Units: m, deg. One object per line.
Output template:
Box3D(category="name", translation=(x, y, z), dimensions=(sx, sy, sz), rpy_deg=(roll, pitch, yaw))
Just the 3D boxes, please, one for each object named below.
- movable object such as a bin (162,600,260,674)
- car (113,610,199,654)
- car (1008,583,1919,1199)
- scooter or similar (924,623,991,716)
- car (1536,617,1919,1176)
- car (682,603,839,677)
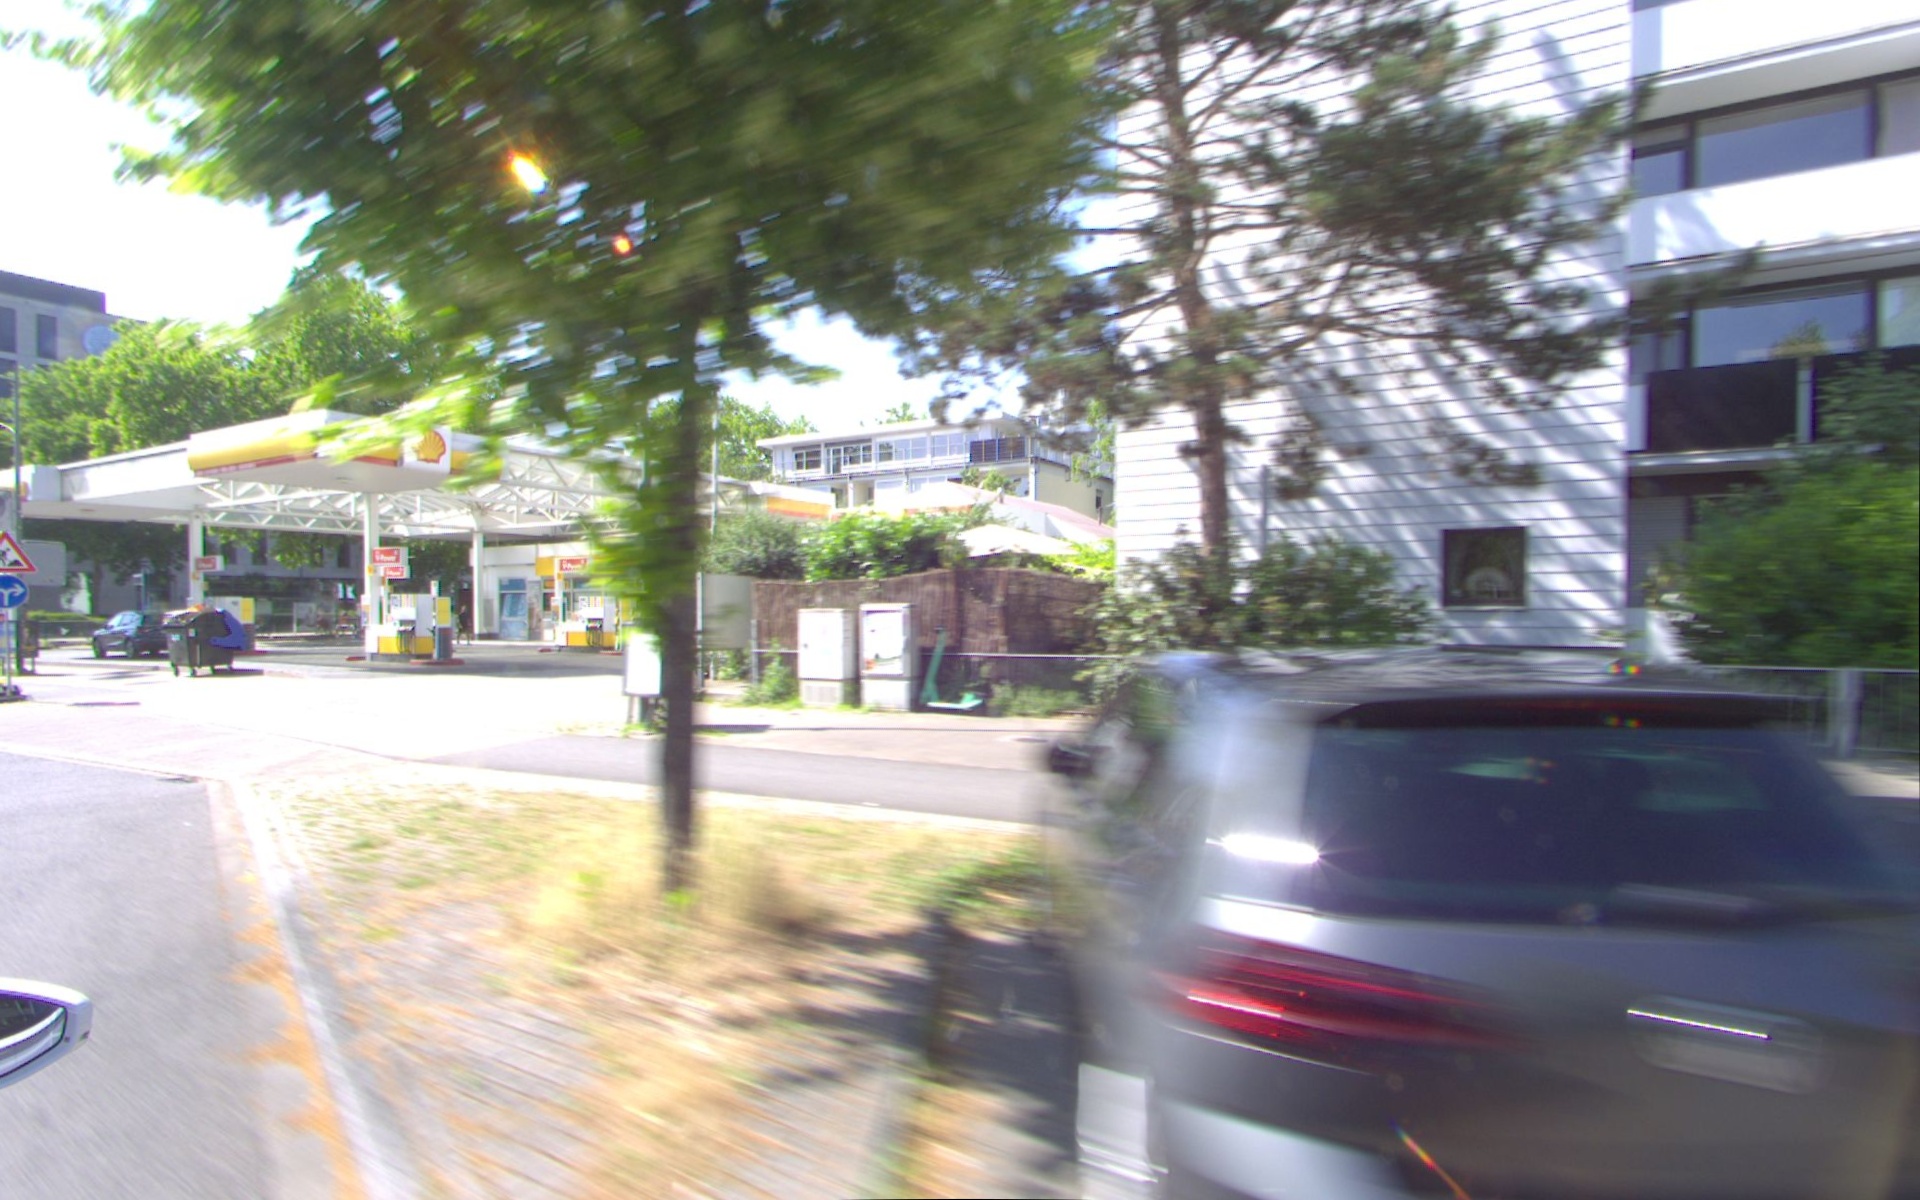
Box3D(category="movable object such as a bin", translation=(-17.351, 0.835, 23.219), dimensions=(1.374, 1.614, 1.306), rpy_deg=(0, 2, 27))
Box3D(category="car", translation=(-27.128, 1.046, 33.765), dimensions=(3.599, 1.416, 1.642), rpy_deg=(-1, -1, 41))
Box3D(category="car", translation=(1.243, 0.790, 3.453), dimensions=(1.961, 1.550, 4.118), rpy_deg=(0, -1, 0))
Box3D(category="scooter or similar", translation=(-0.036, 0.900, 13.244), dimensions=(0.945, 1.181, 0.230), rpy_deg=(0, 0, 38))
Box3D(category="car", translation=(3.451, 0.788, 2.353), dimensions=(1.735, 1.493, 4.000), rpy_deg=(0, -1, -3))
Box3D(category="car", translation=(-4.624, 0.903, 23.725), dimensions=(1.566, 1.617, 3.817), rpy_deg=(0, -1, 29))
